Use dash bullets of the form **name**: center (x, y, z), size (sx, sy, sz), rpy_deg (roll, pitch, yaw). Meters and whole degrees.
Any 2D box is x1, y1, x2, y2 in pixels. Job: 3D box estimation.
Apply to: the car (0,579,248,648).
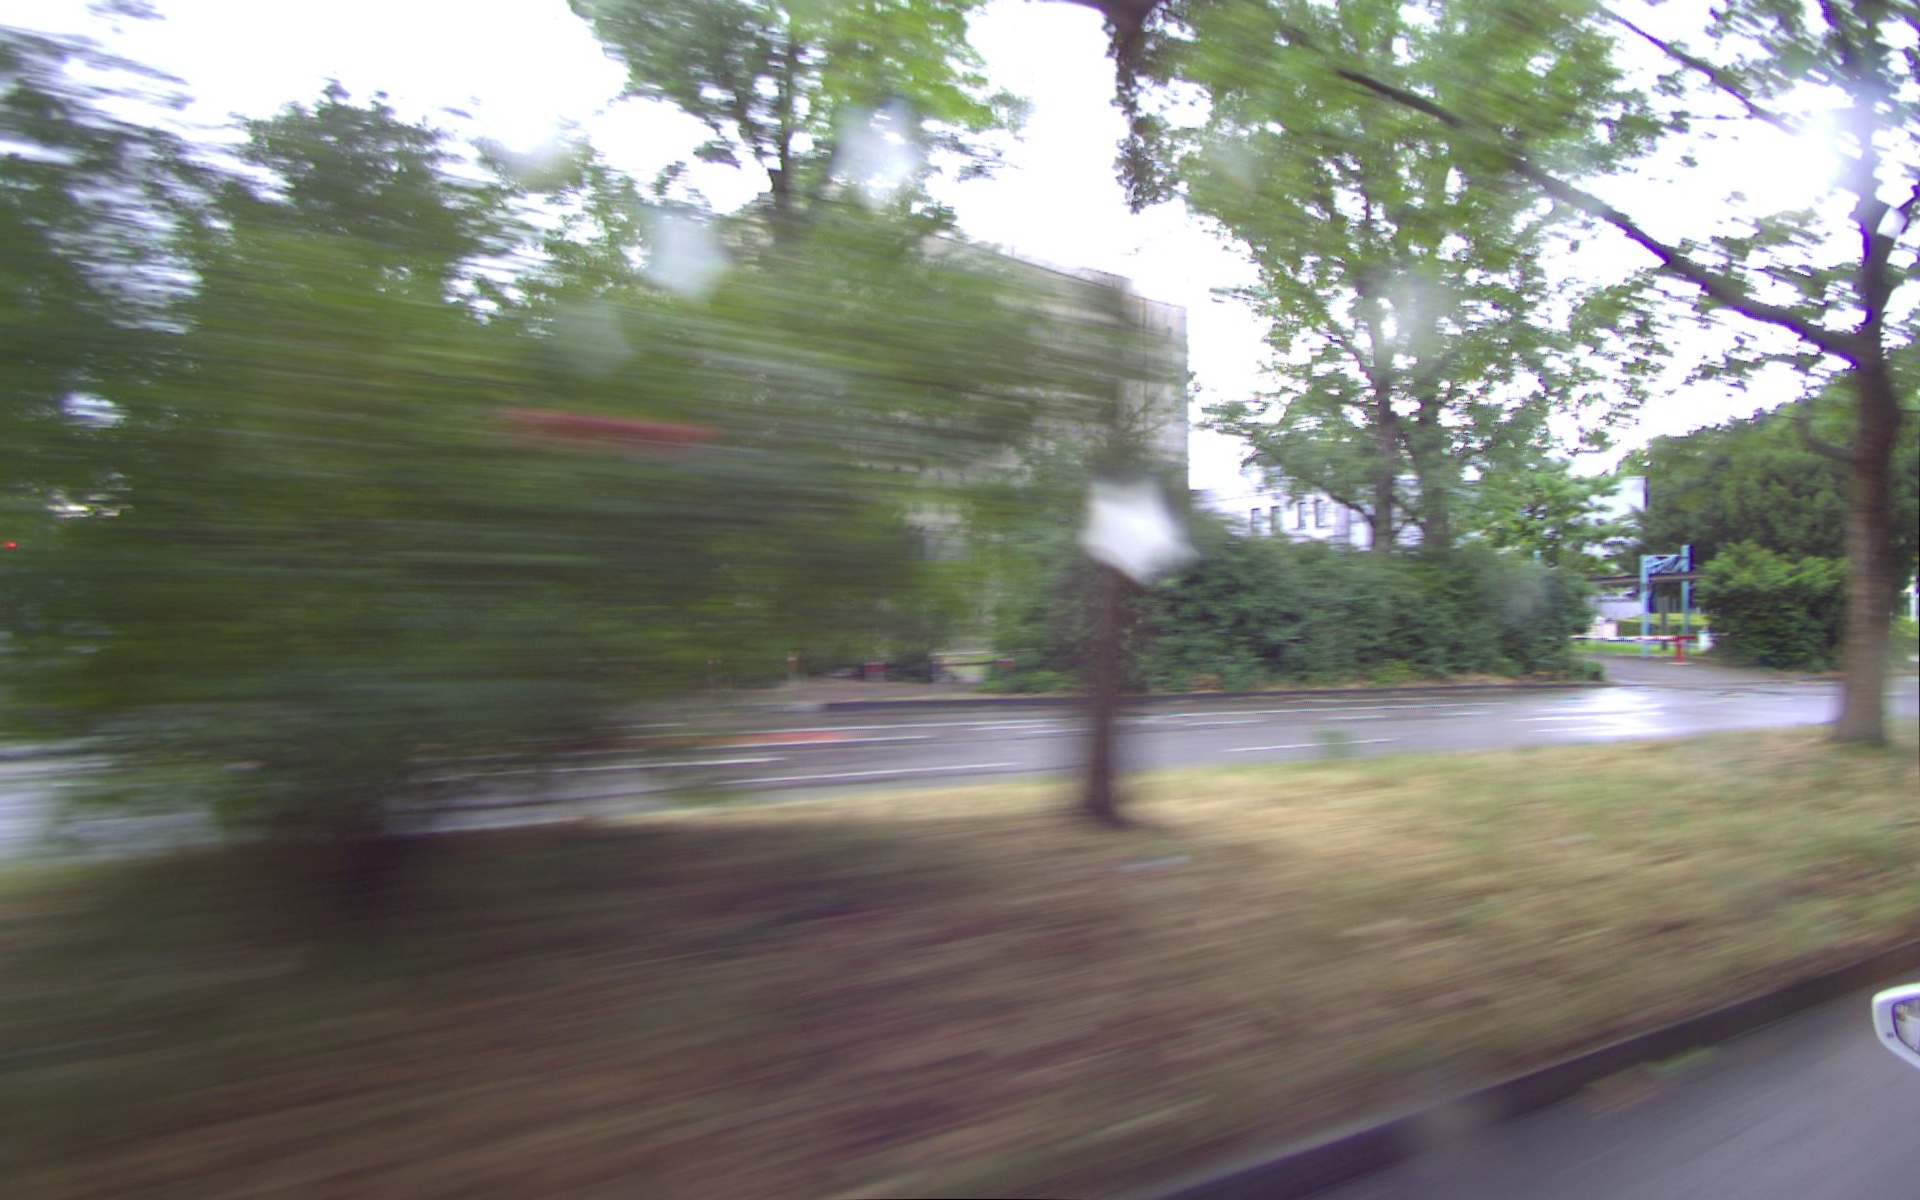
- **car**: center (-23.069, 0.315, 27.889), size (5.180, 1.754, 1.850), rpy_deg (0, 1, -44)
